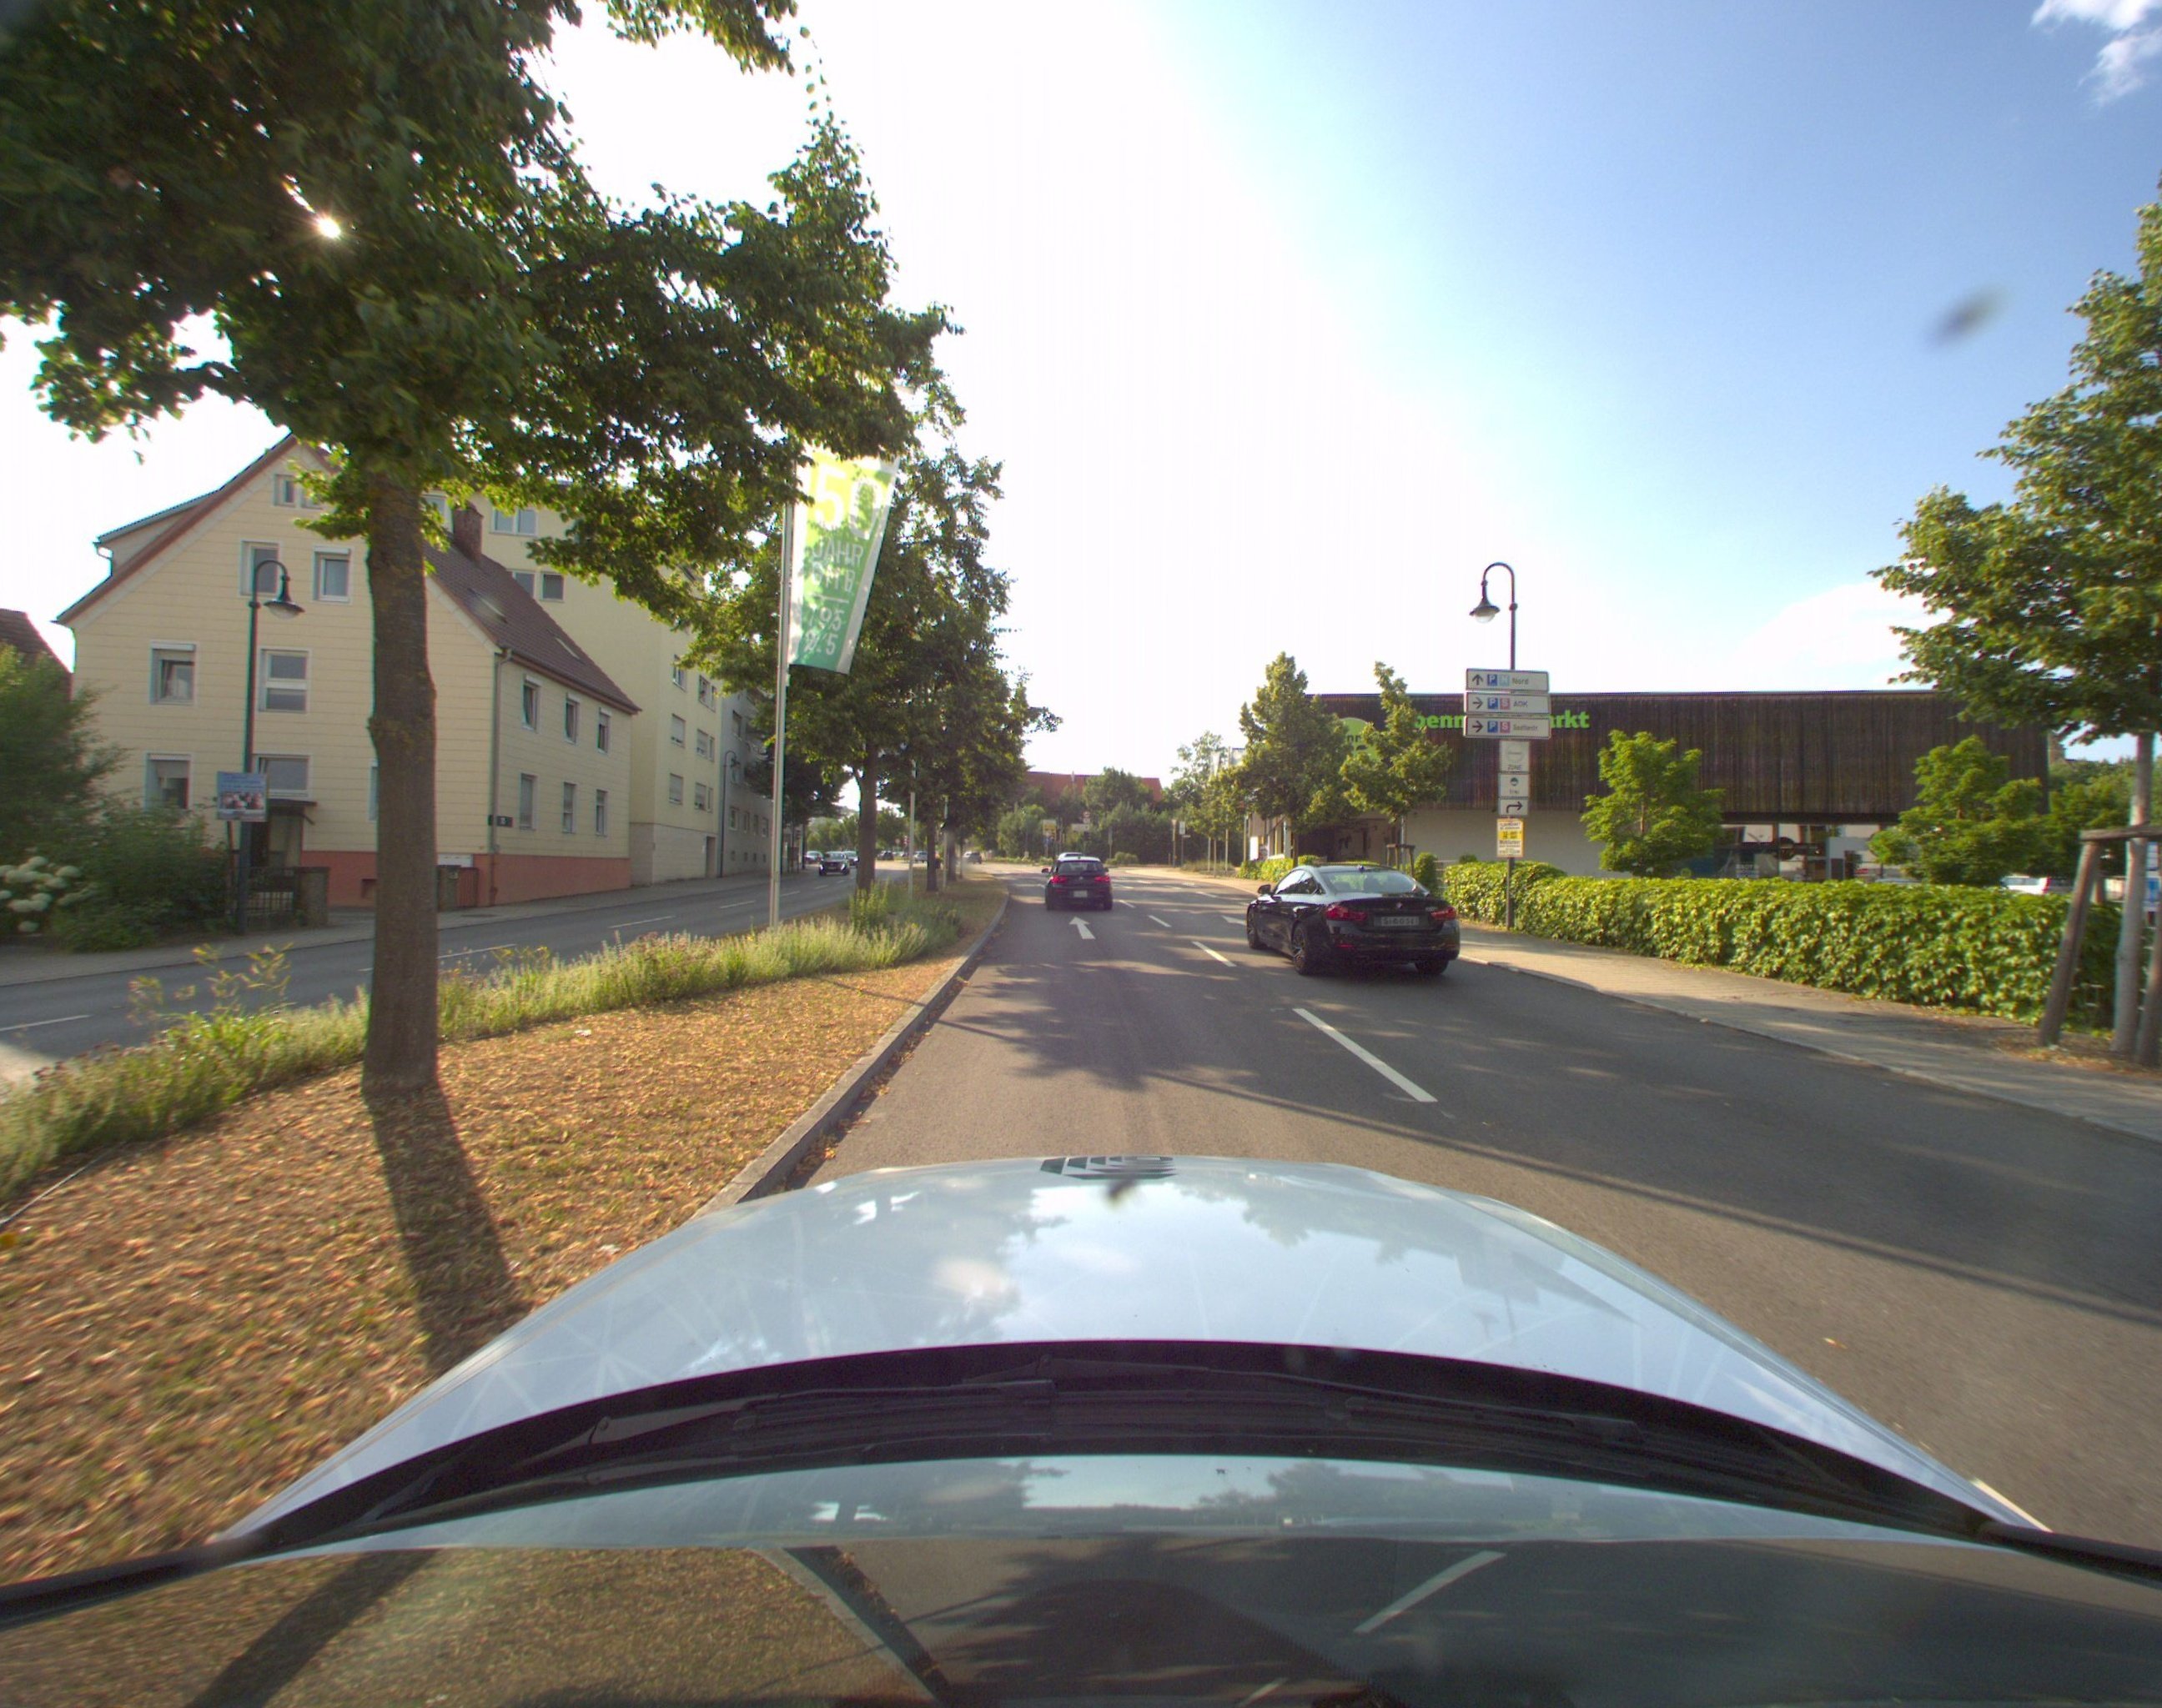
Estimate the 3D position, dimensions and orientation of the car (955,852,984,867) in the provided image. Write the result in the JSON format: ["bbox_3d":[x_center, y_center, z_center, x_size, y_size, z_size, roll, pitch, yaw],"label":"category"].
[{"bbox_3d":[-13.479,0.650,98.290,2.267,1.674,4.553,3,0,-23],"label":"car"}]

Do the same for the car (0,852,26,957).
[{"bbox_3d":[-17.584,0.682,11.299,4.316,1.486,1.953,1,0,13],"label":"car"}]

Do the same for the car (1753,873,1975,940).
[{"bbox_3d":[21.457,1.365,22.634,1.985,1.539,4.552,1,0,3],"label":"car"}]

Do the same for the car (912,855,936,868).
[{"bbox_3d":[-21.116,0.987,109.582,2.267,1.674,4.553,3,0,-23],"label":"car"}]

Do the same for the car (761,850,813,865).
[{"bbox_3d":[-30.527,0.337,84.646,4.868,1.436,1.907,0,0,-16],"label":"car"}]

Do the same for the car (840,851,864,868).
[{"bbox_3d":[-21.193,0.500,75.344,1.605,1.486,3.773,0,0,-8],"label":"car"}]

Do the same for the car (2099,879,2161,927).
[{"bbox_3d":[37.230,1.679,27.082,1.983,1.551,4.007,1,0,7],"label":"car"}]

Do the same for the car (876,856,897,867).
[{"bbox_3d":[-30.065,1.149,125.733,2.230,1.769,4.413,0,0,-28],"label":"car"}]

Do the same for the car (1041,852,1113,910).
[{"bbox_3d":[-0.199,0.713,23.242,1.718,1.490,4.345,0,0,-5],"label":"car"}]

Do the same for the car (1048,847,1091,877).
[{"bbox_3d":[-0.779,0.491,50.567,1.926,1.769,4.438,0,0,-11],"label":"car"}]

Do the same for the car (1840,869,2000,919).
[{"bbox_3d":[30.213,1.384,29.531,1.983,1.628,4.007,1,0,7],"label":"car"}]

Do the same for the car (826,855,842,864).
[{"bbox_3d":[-48.601,1.065,160.184,2.230,1.769,4.413,0,0,-28],"label":"car"}]

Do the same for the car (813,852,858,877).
[{"bbox_3d":[-16.297,0.668,54.265,1.937,1.486,4.316,2,0,-5],"label":"car"}]

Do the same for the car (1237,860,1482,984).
[{"bbox_3d":[3.563,0.782,11.358,1.914,1.364,4.351,0,0,0],"label":"car"}]
